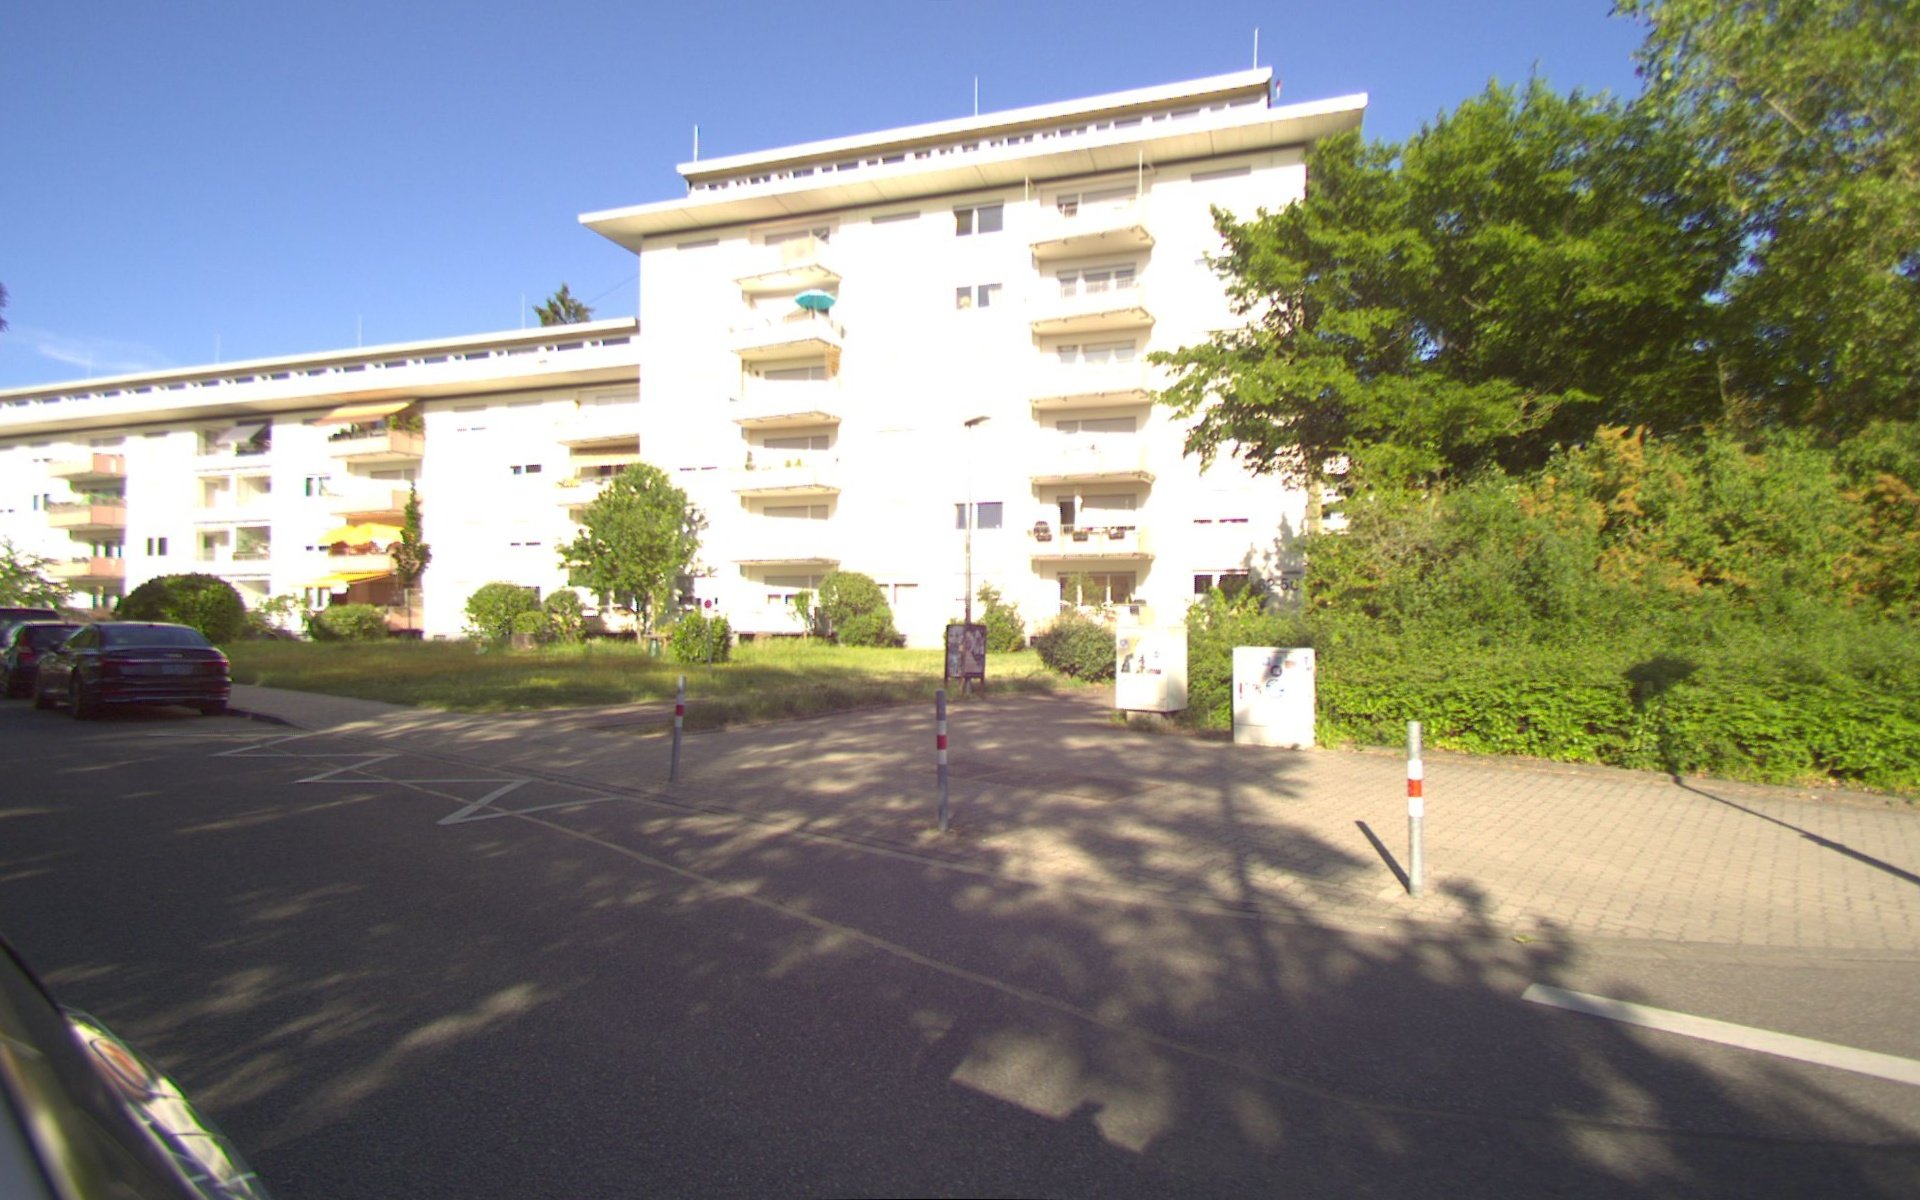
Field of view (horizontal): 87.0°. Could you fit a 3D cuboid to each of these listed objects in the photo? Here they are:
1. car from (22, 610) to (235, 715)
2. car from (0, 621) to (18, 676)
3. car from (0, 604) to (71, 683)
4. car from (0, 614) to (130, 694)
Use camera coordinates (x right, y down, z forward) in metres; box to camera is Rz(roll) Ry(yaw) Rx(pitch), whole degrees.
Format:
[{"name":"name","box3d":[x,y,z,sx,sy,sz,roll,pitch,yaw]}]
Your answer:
[{"name":"car","box3d":[-13.480,0.969,16.311,4.676,1.475,1.711,-2,-3,39]},{"name":"car","box3d":[-28.256,1.323,28.455,4.568,1.493,1.822,-1,-4,38]},{"name":"car","box3d":[-23.526,1.037,24.739,4.882,1.794,1.822,-1,-3,39]},{"name":"car","box3d":[-18.491,1.078,20.558,4.016,1.465,1.821,-2,-3,41]}]
